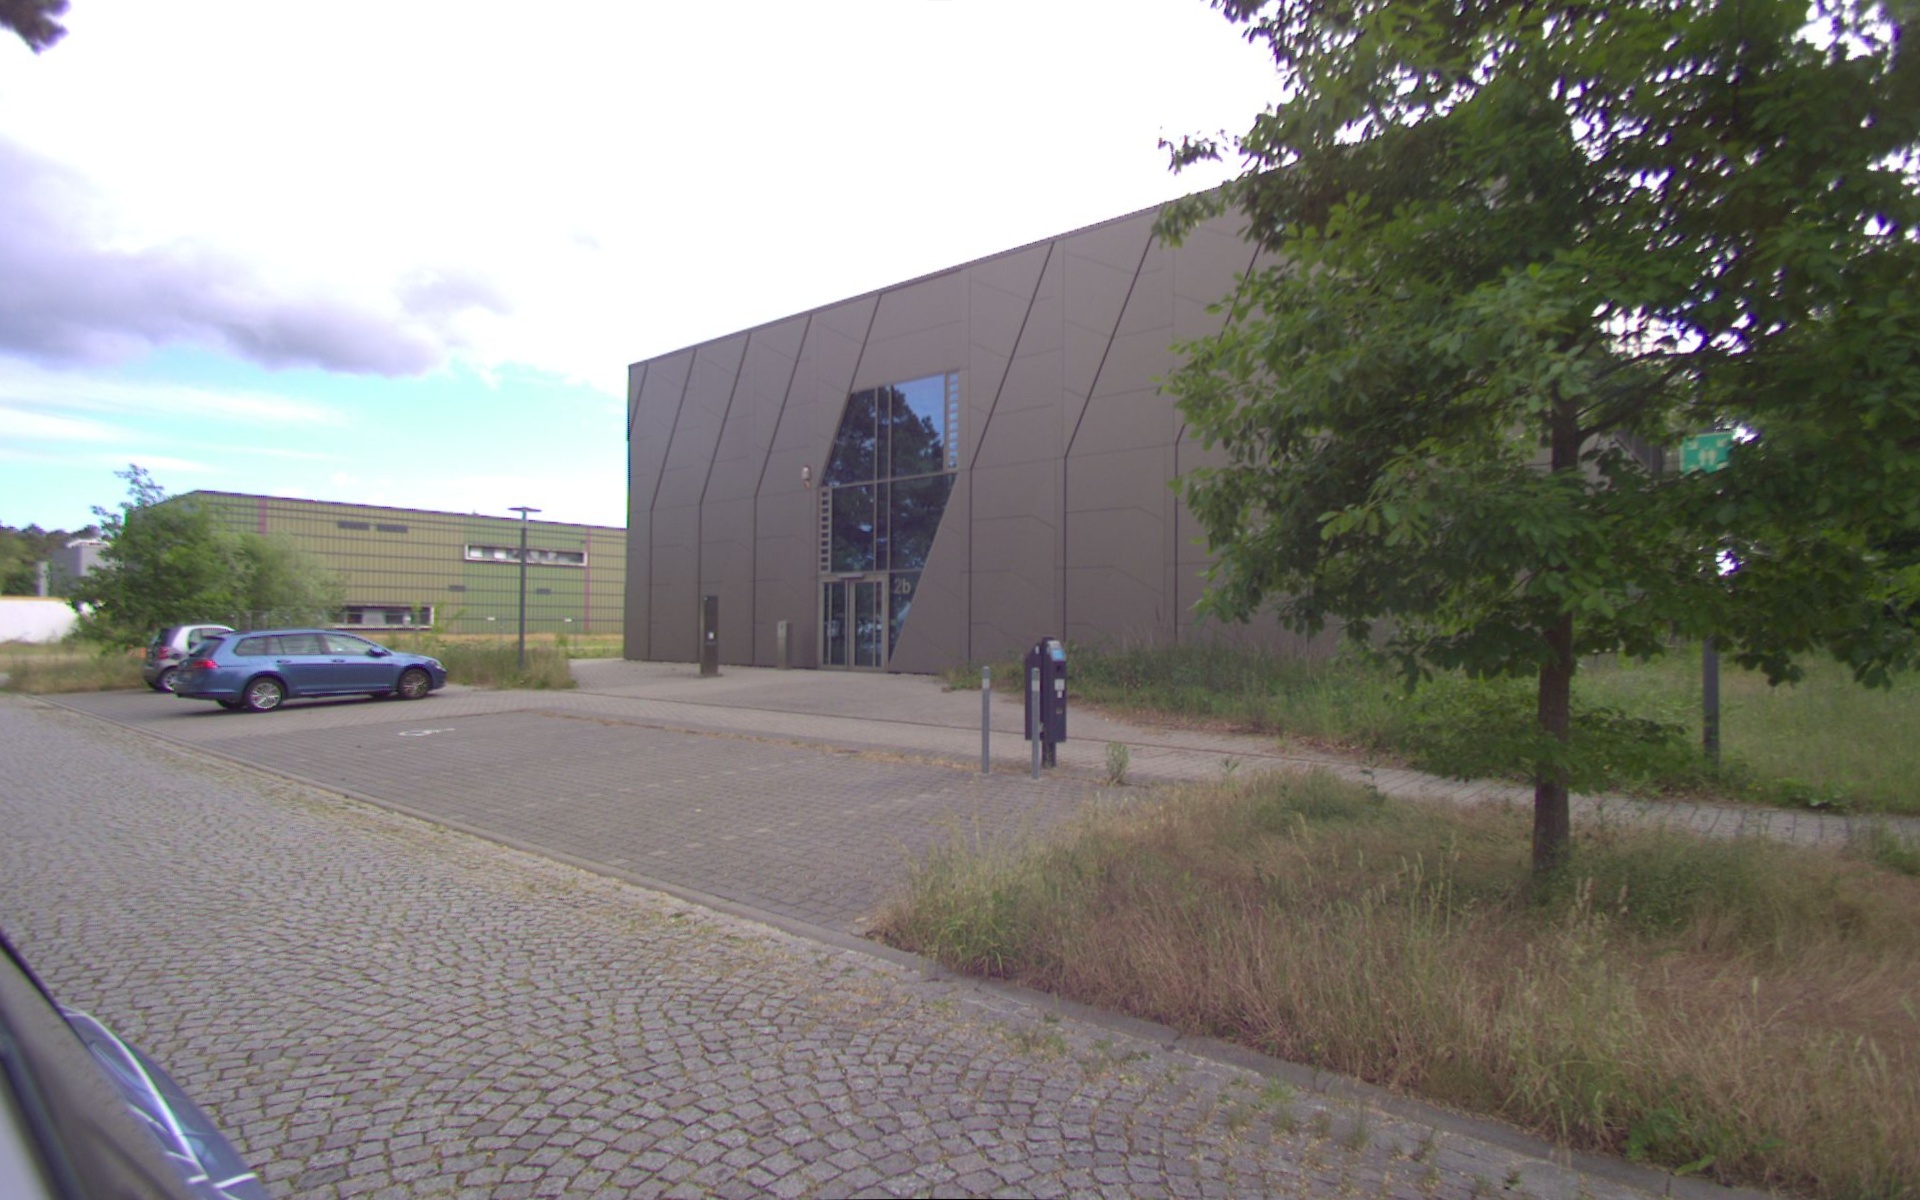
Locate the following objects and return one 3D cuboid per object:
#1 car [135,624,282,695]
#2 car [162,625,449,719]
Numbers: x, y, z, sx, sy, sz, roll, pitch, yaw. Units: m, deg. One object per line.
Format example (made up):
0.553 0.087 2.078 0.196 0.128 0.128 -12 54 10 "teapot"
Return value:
-18.042 1.383 24.359 1.498 1.541 2.553 -1 0 38 "car"
-12.471 1.293 19.543 1.631 1.481 4.373 -1 0 38 "car"
